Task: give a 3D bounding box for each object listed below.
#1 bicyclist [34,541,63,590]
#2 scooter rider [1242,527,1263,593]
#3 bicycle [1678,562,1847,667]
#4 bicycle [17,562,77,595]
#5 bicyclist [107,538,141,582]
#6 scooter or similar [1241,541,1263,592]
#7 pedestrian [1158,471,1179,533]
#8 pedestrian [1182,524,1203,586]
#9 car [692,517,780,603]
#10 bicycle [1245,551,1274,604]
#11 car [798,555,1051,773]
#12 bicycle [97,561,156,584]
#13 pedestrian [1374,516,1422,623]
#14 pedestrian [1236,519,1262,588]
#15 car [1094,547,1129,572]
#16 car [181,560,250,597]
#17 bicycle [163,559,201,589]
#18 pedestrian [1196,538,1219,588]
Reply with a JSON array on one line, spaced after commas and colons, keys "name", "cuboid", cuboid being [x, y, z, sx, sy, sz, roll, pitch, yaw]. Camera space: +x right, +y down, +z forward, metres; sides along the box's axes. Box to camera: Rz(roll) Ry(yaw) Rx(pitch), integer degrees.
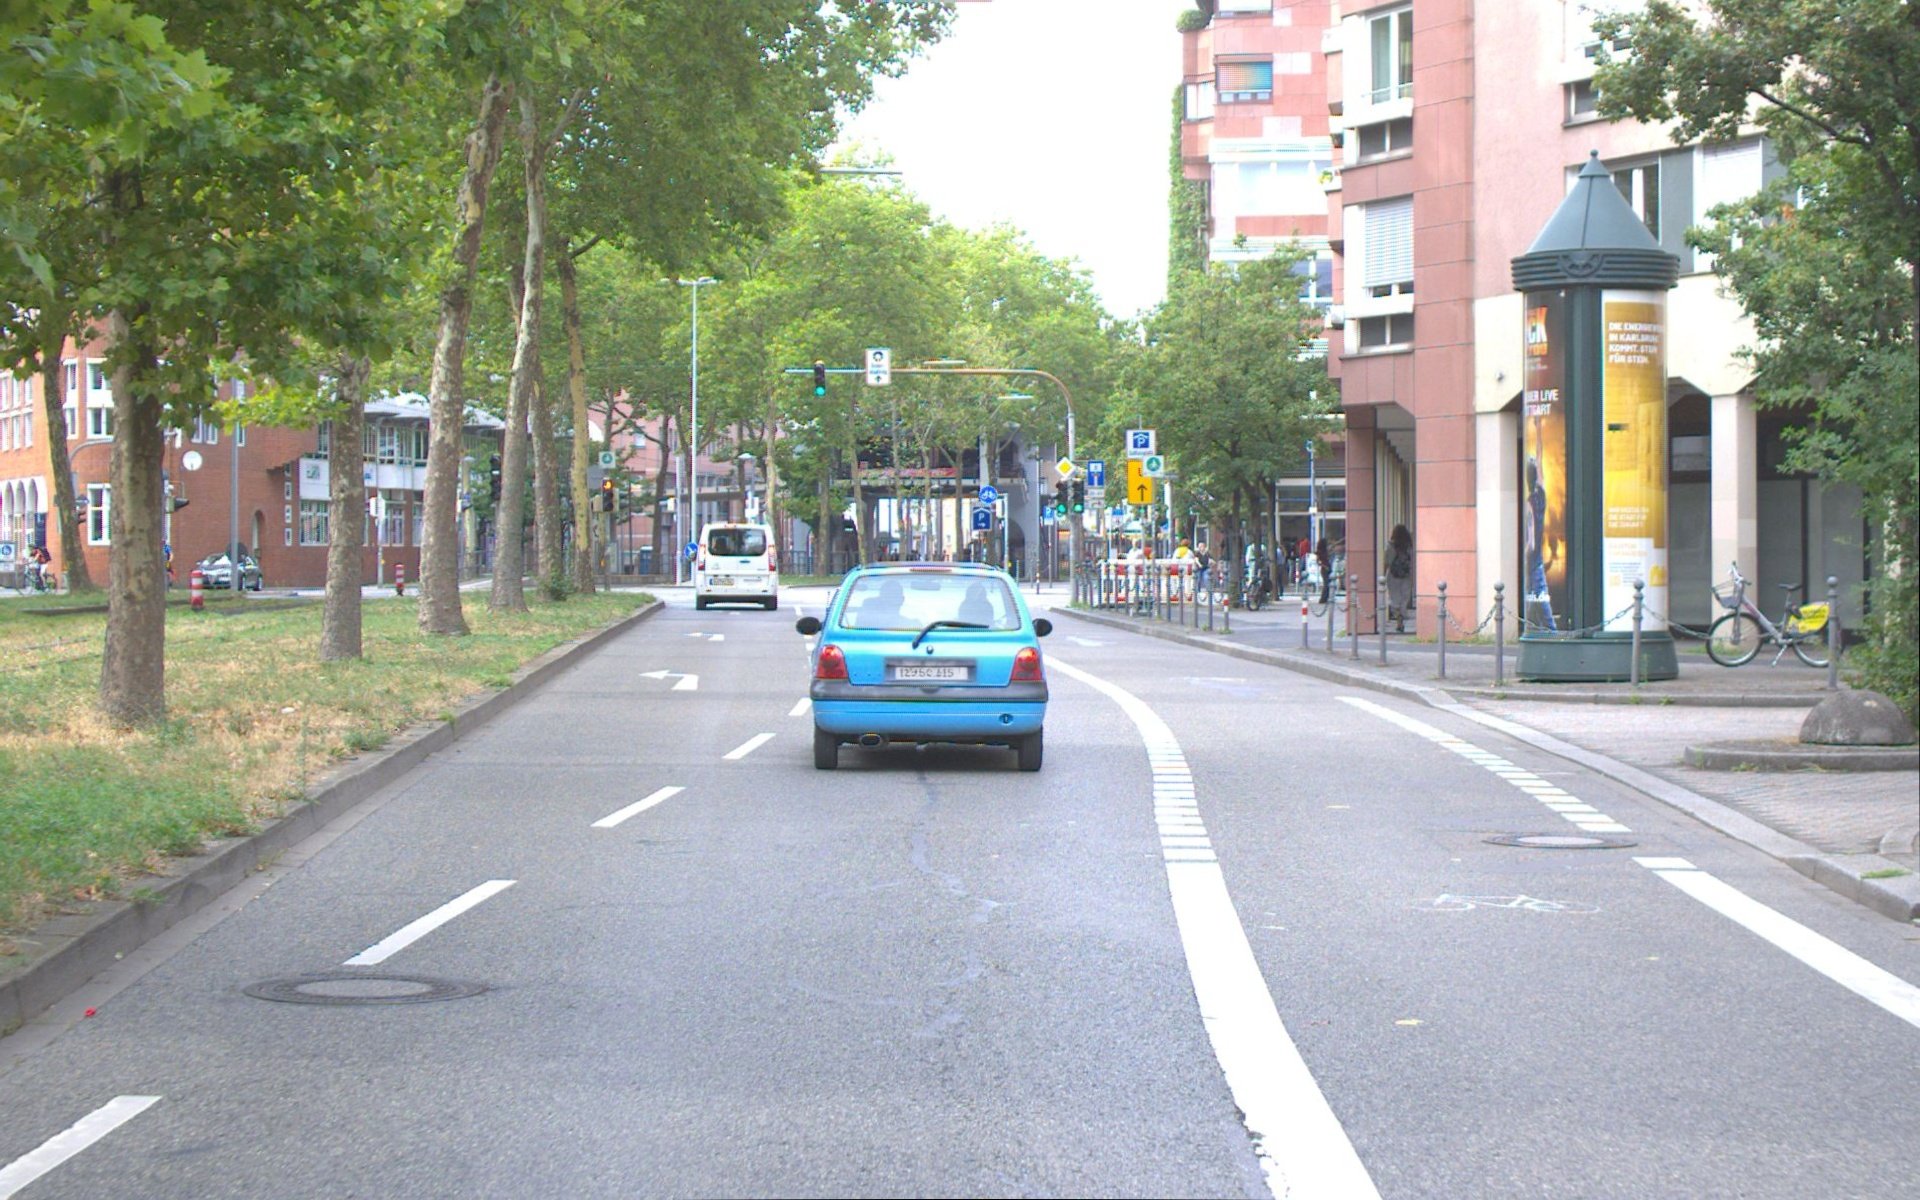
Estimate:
[{"name": "bicyclist", "cuboid": [-30.857, -1.172, 116.327, 0.782, 1.667, 0.573, 0, 1, -39]}, {"name": "scooter rider", "cuboid": [6.943, -0.956, 81.630, 0.460, 1.552, 0.565, 0, 1, 1]}, {"name": "bicycle", "cuboid": [8.784, 0.154, 37.650, 1.663, 1.125, 0.669, 0, 1, 39]}, {"name": "bicycle", "cuboid": [-30.883, -0.723, 116.321, 1.871, 1.088, 0.578, -1, 1, -39]}, {"name": "bicyclist", "cuboid": [-29.716, -1.426, 122.215, 1.031, 1.557, 0.582, -1, 1, -39]}, {"name": "scooter or similar", "cuboid": [6.957, -0.807, 81.975, 0.474, 1.202, 1.330, 0, 1, 3]}, {"name": "pedestrian", "cuboid": [5.482, -2.575, 90.490, 0.517, 1.610, 0.851, 0, 1, 2]}, {"name": "pedestrian", "cuboid": [6.089, -1.189, 90.054, 0.517, 1.610, 0.851, 0, 1, 4]}, {"name": "car", "cuboid": [-5.079, -0.942, 78.519, 1.931, 1.919, 4.956, 0, 1, -3]}, {"name": "bicycle", "cuboid": [6.402, -0.484, 73.573, 0.612, 1.114, 1.804, 0, 1, 5]}, {"name": "car", "cuboid": [-0.308, 0.396, 24.389, 1.640, 1.381, 3.843, 1, 1, -2]}, {"name": "bicycle", "cuboid": [-29.646, -0.985, 122.258, 1.982, 0.833, 0.579, -1, 1, -39]}, {"name": "pedestrian", "cuboid": [6.779, -0.479, 53.174, 0.544, 1.644, 0.824, 0, 1, 21]}, {"name": "pedestrian", "cuboid": [7.697, -1.237, 91.466, 0.676, 1.822, 0.851, 0, 1, 4]}, {"name": "car", "cuboid": [9.938, -2.641, 225.382, 1.887, 1.618, 3.999, 0, 1, 9]}, {"name": "car", "cuboid": [-26.497, -0.778, 122.425, 1.729, 1.241, 4.535, 0, 1, -3]}, {"name": "bicycle", "cuboid": [-28.324, -0.953, 125.154, 0.691, 1.088, 1.876, 0, 1, 10]}, {"name": "pedestrian", "cuboid": [7.645, -1.153, 106.081, 0.676, 1.533, 0.947, 0, 1, 5]}]
